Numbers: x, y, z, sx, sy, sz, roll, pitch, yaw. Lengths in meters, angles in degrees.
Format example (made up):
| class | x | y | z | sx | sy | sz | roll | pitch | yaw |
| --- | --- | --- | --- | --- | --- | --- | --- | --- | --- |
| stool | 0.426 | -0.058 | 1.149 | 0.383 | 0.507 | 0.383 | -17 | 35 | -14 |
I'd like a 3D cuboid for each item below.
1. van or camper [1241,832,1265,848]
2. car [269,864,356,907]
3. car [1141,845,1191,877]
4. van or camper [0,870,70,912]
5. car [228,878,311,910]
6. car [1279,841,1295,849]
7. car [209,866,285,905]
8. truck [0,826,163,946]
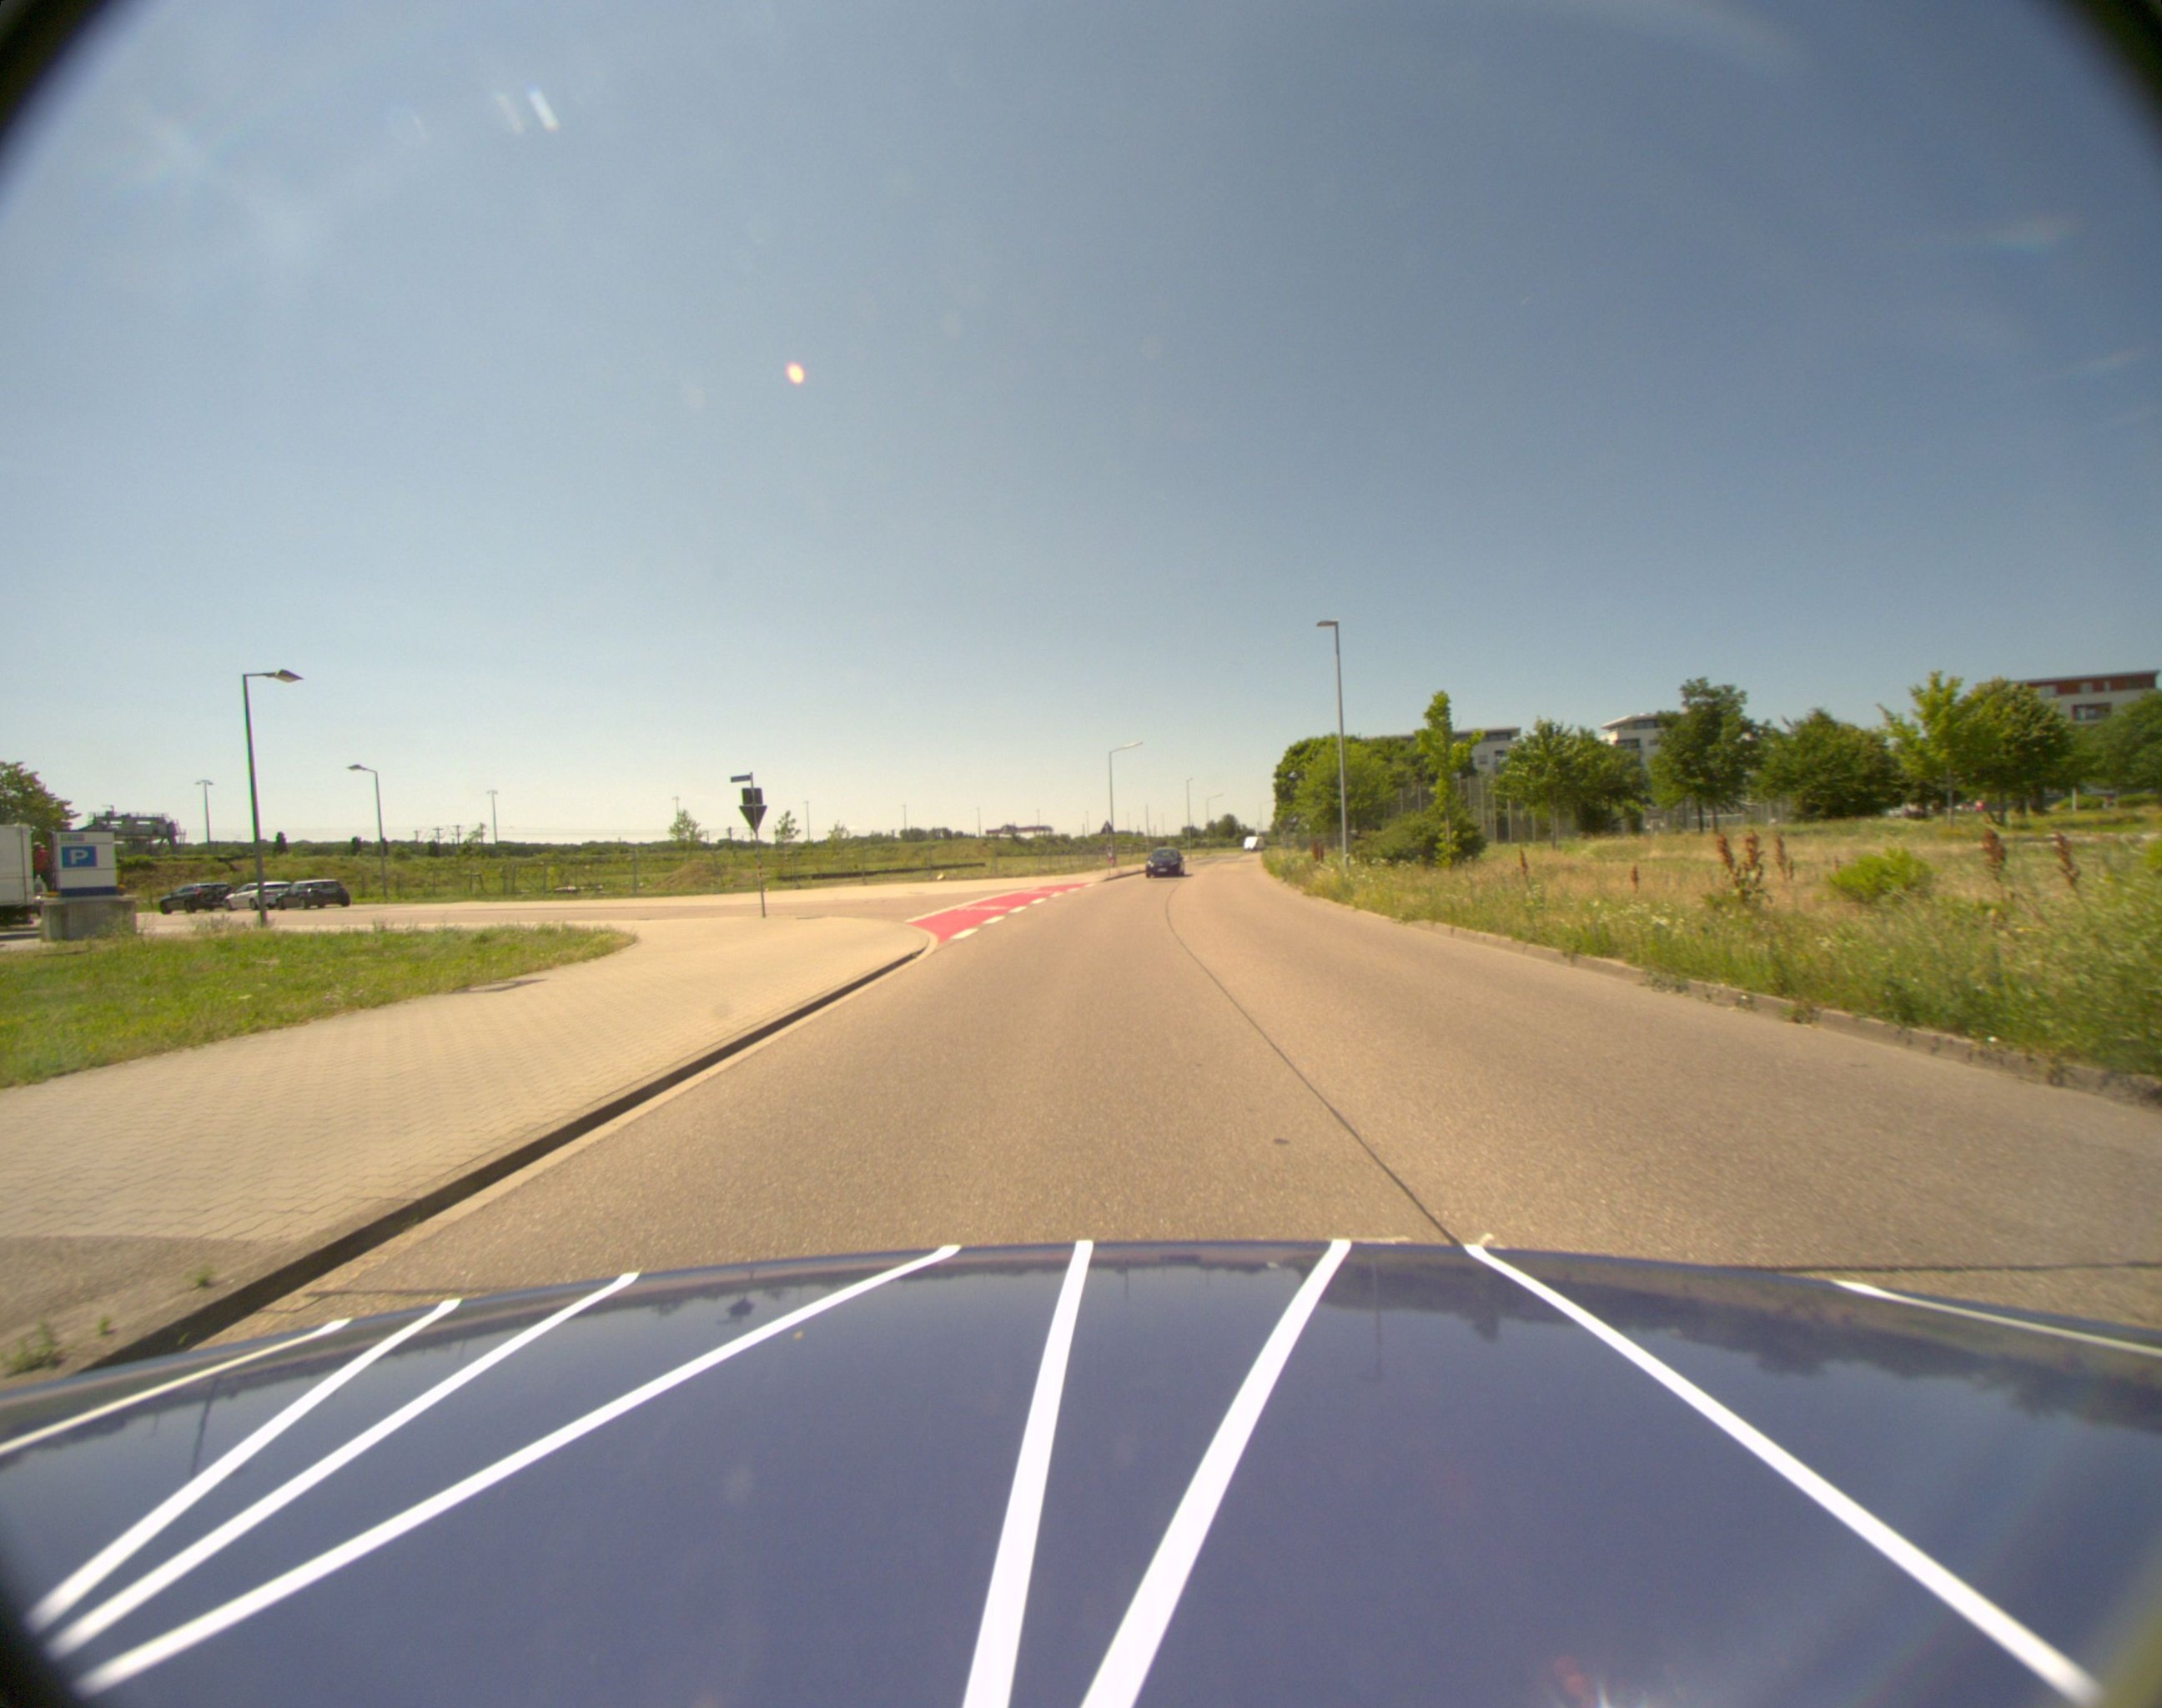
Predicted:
| class | x | y | z | sx | sy | sz | roll | pitch | yaw |
| --- | --- | --- | --- | --- | --- | --- | --- | --- | --- |
| van or camper | 28.597 | -2.292 | 125.985 | 2.137 | 2.558 | 5.876 | -2 | 0 | 30 |
| car | -38.538 | 1.578 | 38.111 | 3.906 | 2.002 | 1.883 | -2 | 1 | 27 |
| car | 4.345 | 0.306 | 38.305 | 1.652 | 1.458 | 4.164 | -2 | 0 | 17 |
| van or camper | -76.888 | 2.703 | 55.272 | 6.411 | 2.760 | 2.569 | -2 | 1 | 24 |
| car | -43.215 | 2.117 | 40.472 | 4.035 | 1.548 | 1.752 | -2 | 1 | 24 |
| car | 40.038 | -1.724 | 147.469 | 1.651 | 1.458 | 3.873 | -2 | 0 | 36 |
| car | -50.506 | 1.895 | 46.017 | 3.907 | 2.002 | 1.883 | -4 | 1 | 24 |
| truck | -33.893 | 1.013 | 19.846 | 3.011 | 3.442 | 12.158 | 0 | 1 | 25 |
